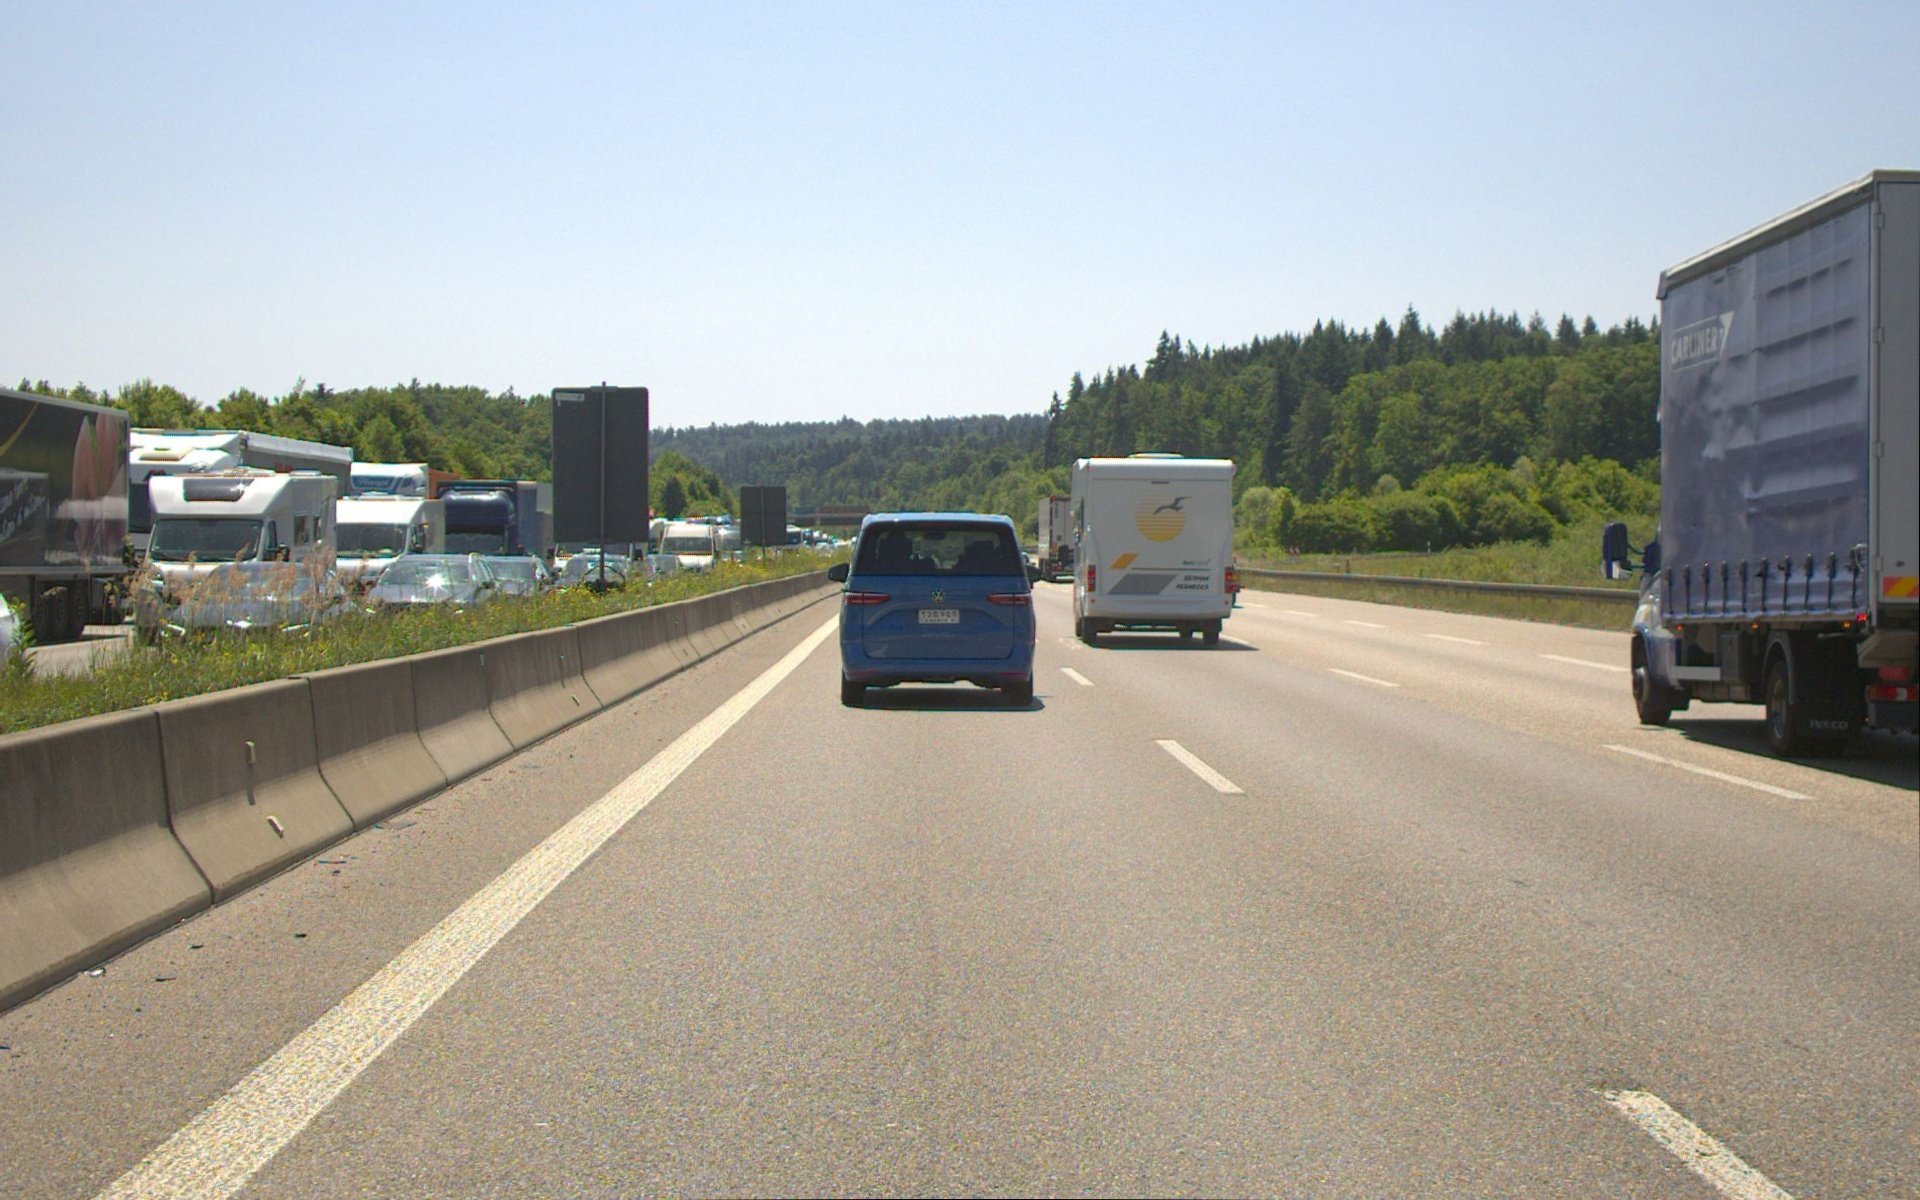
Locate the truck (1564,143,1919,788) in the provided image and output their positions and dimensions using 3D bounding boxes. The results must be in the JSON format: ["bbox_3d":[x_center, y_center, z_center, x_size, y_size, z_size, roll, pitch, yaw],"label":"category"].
[{"bbox_3d":[7.101,-0.879,26.857,2.783,4.114,9.741,1,0,-1],"label":"truck"}]

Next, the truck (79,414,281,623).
[{"bbox_3d":[-16.182,-1.654,71.726,2.801,4.113,6.141,1,0,0],"label":"truck"}]

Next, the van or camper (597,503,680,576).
[{"bbox_3d":[-13.246,-2.447,142.109,2.545,2.927,7.827,0,0,1],"label":"van or camper"}]

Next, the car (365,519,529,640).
[{"bbox_3d":[-8.135,-0.339,54.990,1.811,1.803,5.543,1,0,0],"label":"car"}]

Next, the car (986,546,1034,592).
[{"bbox_3d":[1.989,-1.245,137.694,1.818,1.788,3.894,1,0,-1],"label":"car"}]

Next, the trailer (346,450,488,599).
[{"bbox_3d":[-16.669,-2.261,106.342,2.611,4.295,12.001,1,0,-1],"label":"trailer"}]

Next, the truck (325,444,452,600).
[{"bbox_3d":[-16.542,-2.221,99.834,2.589,4.311,7.294,1,0,-1],"label":"truck"}]

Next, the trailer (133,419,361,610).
[{"bbox_3d":[-16.226,-1.868,79.255,2.780,4.020,12.251,1,0,-1],"label":"trailer"}]

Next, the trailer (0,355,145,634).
[{"bbox_3d":[-16.004,-1.659,56.241,2.789,4.226,10.793,1,0,0],"label":"trailer"}]

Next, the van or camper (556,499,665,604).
[{"bbox_3d":[-8.698,-1.204,86.023,2.193,2.532,6.417,0,0,-1],"label":"van or camper"}]

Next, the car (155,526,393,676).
[{"bbox_3d":[-7.996,-0.008,40.500,1.811,1.628,5.030,1,0,0],"label":"car"}]

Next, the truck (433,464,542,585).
[{"bbox_3d":[-16.635,-2.620,121.550,2.573,4.064,9.695,1,0,-1],"label":"truck"}]

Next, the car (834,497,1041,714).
[{"bbox_3d":[-0.250,-0.001,34.454,1.909,2.007,4.001,1,1,-1],"label":"car"}]

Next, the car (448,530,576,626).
[{"bbox_3d":[-8.495,-0.422,65.558,1.811,1.724,4.973,1,0,0],"label":"car"}]

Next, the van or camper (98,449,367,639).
[{"bbox_3d":[-12.109,-0.914,57.974,2.841,2.938,8.113,1,0,0],"label":"van or camper"}]

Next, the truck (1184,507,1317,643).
[{"bbox_3d":[8.049,-0.784,96.124,2.928,3.563,8.527,-1,2,0],"label":"truck"}]

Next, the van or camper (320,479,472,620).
[{"bbox_3d":[-12.247,-1.083,75.134,2.151,2.913,7.224,1,0,0],"label":"van or camper"}]

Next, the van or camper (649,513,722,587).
[{"bbox_3d":[-9.623,-1.739,120.819,2.193,2.497,6.059,0,0,-1],"label":"van or camper"}]

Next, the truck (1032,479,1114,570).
[{"bbox_3d":[5.350,-3.544,164.418,3.487,4.156,8.642,1,0,-1],"label":"truck"}]

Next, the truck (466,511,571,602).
[{"bbox_3d":[-12.500,-1.216,97.823,2.234,2.497,6.863,0,0,-1],"label":"truck"}]

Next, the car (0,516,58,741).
[{"bbox_3d":[-7.822,0.199,23.862,1.811,1.628,5.030,1,0,0],"label":"car"}]

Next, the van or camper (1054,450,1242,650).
[{"bbox_3d":[3.033,-0.874,57.195,2.603,3.068,7.183,1,1,-1],"label":"van or camper"}]

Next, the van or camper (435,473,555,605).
[{"bbox_3d":[-12.380,-1.590,92.037,2.312,3.378,7.680,0,0,-1],"label":"van or camper"}]
